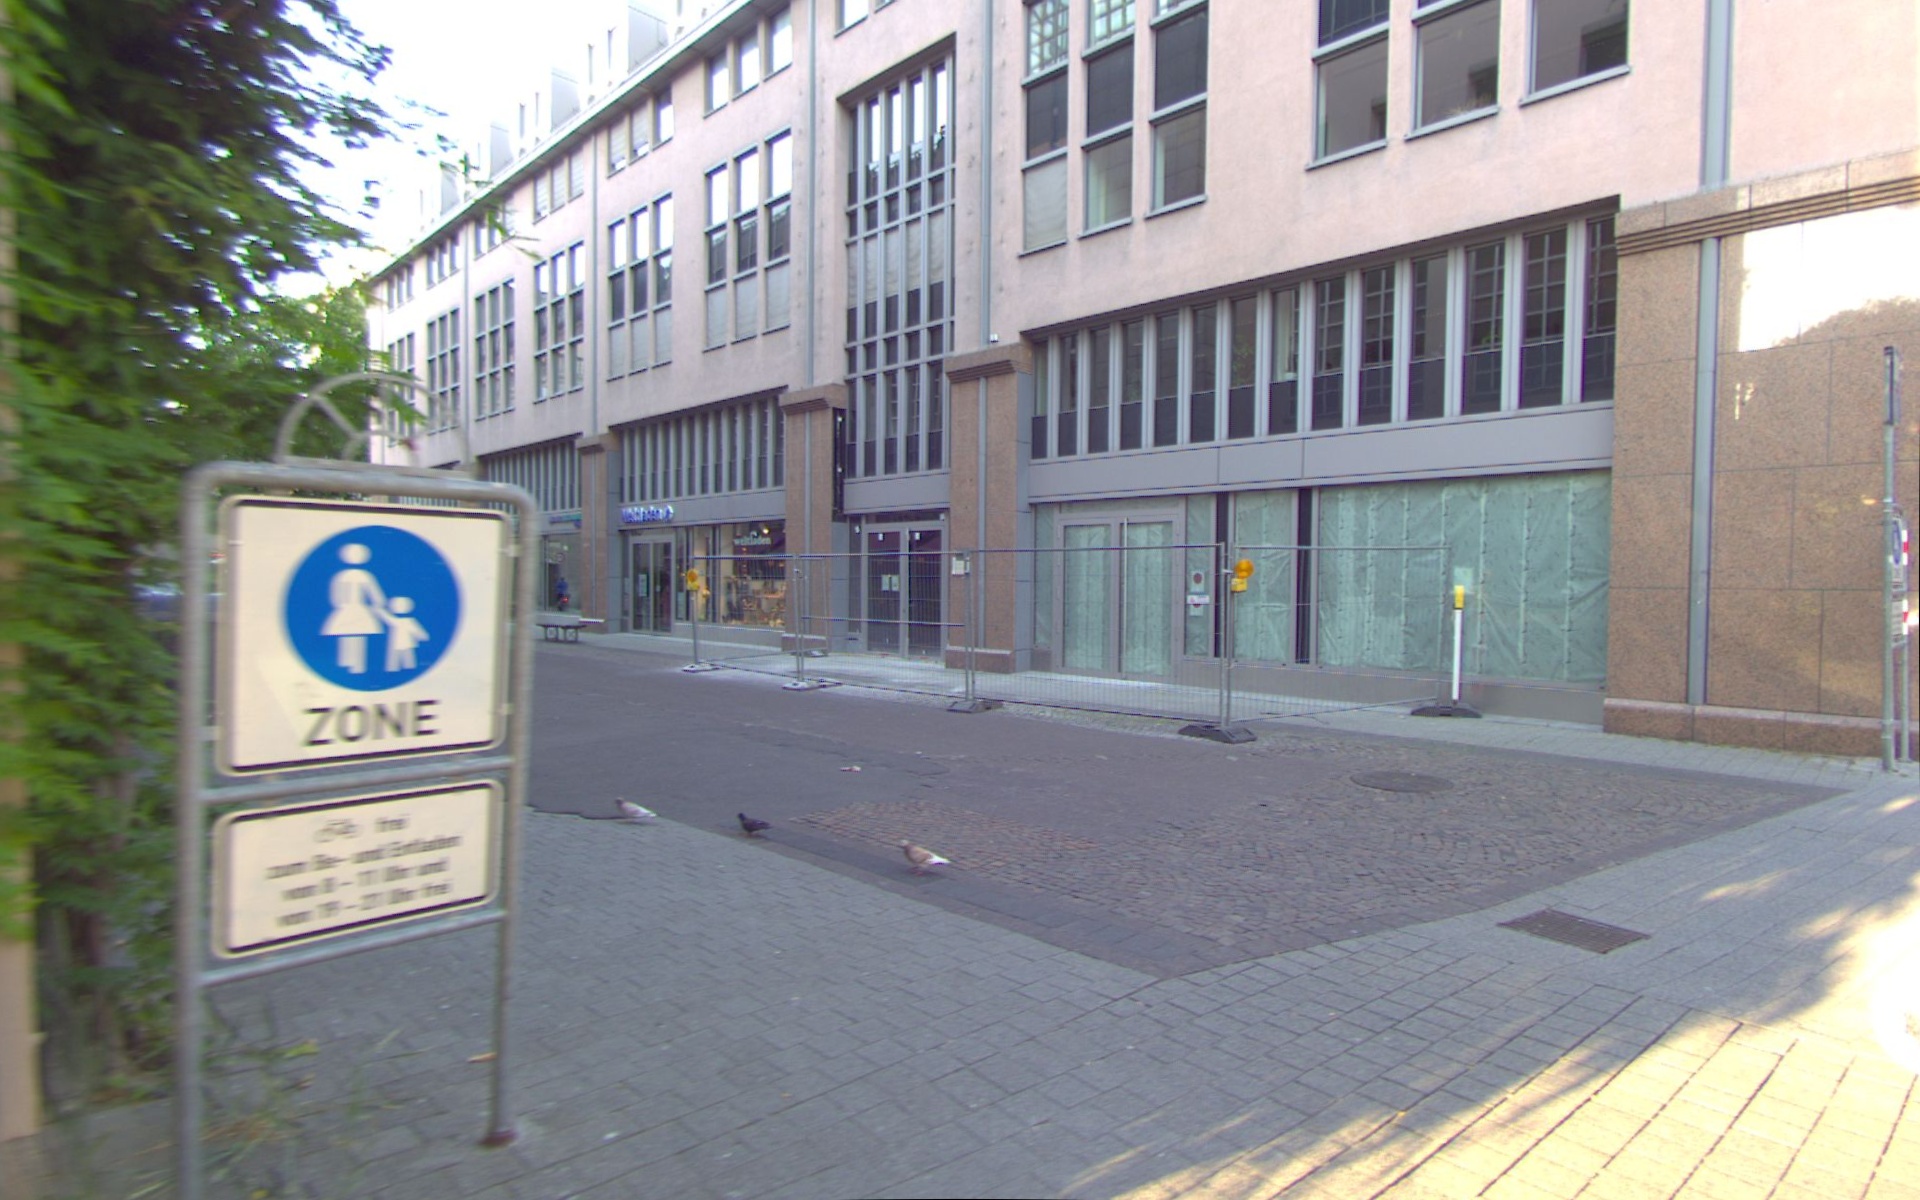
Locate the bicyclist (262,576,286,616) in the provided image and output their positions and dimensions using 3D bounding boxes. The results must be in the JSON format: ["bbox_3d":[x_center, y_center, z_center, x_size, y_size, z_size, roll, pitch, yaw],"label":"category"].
[{"bbox_3d":[-24.722,-0.136,36.189,0.623,1.427,0.586,1,1,42],"label":"bicyclist"}]

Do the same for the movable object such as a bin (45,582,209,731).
[{"bbox_3d":[-9.127,0.578,11.010,1.152,1.507,1.225,1,0,43],"label":"movable object such as a bin"}]

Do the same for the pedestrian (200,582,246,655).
[{"bbox_3d":[-16.542,0.403,22.559,0.687,1.609,0.716,0,1,-25],"label":"pedestrian"}]

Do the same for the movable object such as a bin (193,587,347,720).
[{"bbox_3d":[-8.381,0.631,12.210,1.152,1.486,1.270,1,-2,43],"label":"movable object such as a bin"}]

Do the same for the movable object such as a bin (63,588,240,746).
[{"bbox_3d":[-8.169,0.630,10.157,1.152,1.456,1.225,1,0,43],"label":"movable object such as a bin"}]

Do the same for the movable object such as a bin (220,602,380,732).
[{"bbox_3d":[-7.471,0.729,11.371,1.152,1.347,1.226,1,-2,43],"label":"movable object such as a bin"}]

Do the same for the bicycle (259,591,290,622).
[{"bbox_3d":[-24.712,0.217,36.203,1.922,1.065,0.541,1,1,44],"label":"bicycle"}]
